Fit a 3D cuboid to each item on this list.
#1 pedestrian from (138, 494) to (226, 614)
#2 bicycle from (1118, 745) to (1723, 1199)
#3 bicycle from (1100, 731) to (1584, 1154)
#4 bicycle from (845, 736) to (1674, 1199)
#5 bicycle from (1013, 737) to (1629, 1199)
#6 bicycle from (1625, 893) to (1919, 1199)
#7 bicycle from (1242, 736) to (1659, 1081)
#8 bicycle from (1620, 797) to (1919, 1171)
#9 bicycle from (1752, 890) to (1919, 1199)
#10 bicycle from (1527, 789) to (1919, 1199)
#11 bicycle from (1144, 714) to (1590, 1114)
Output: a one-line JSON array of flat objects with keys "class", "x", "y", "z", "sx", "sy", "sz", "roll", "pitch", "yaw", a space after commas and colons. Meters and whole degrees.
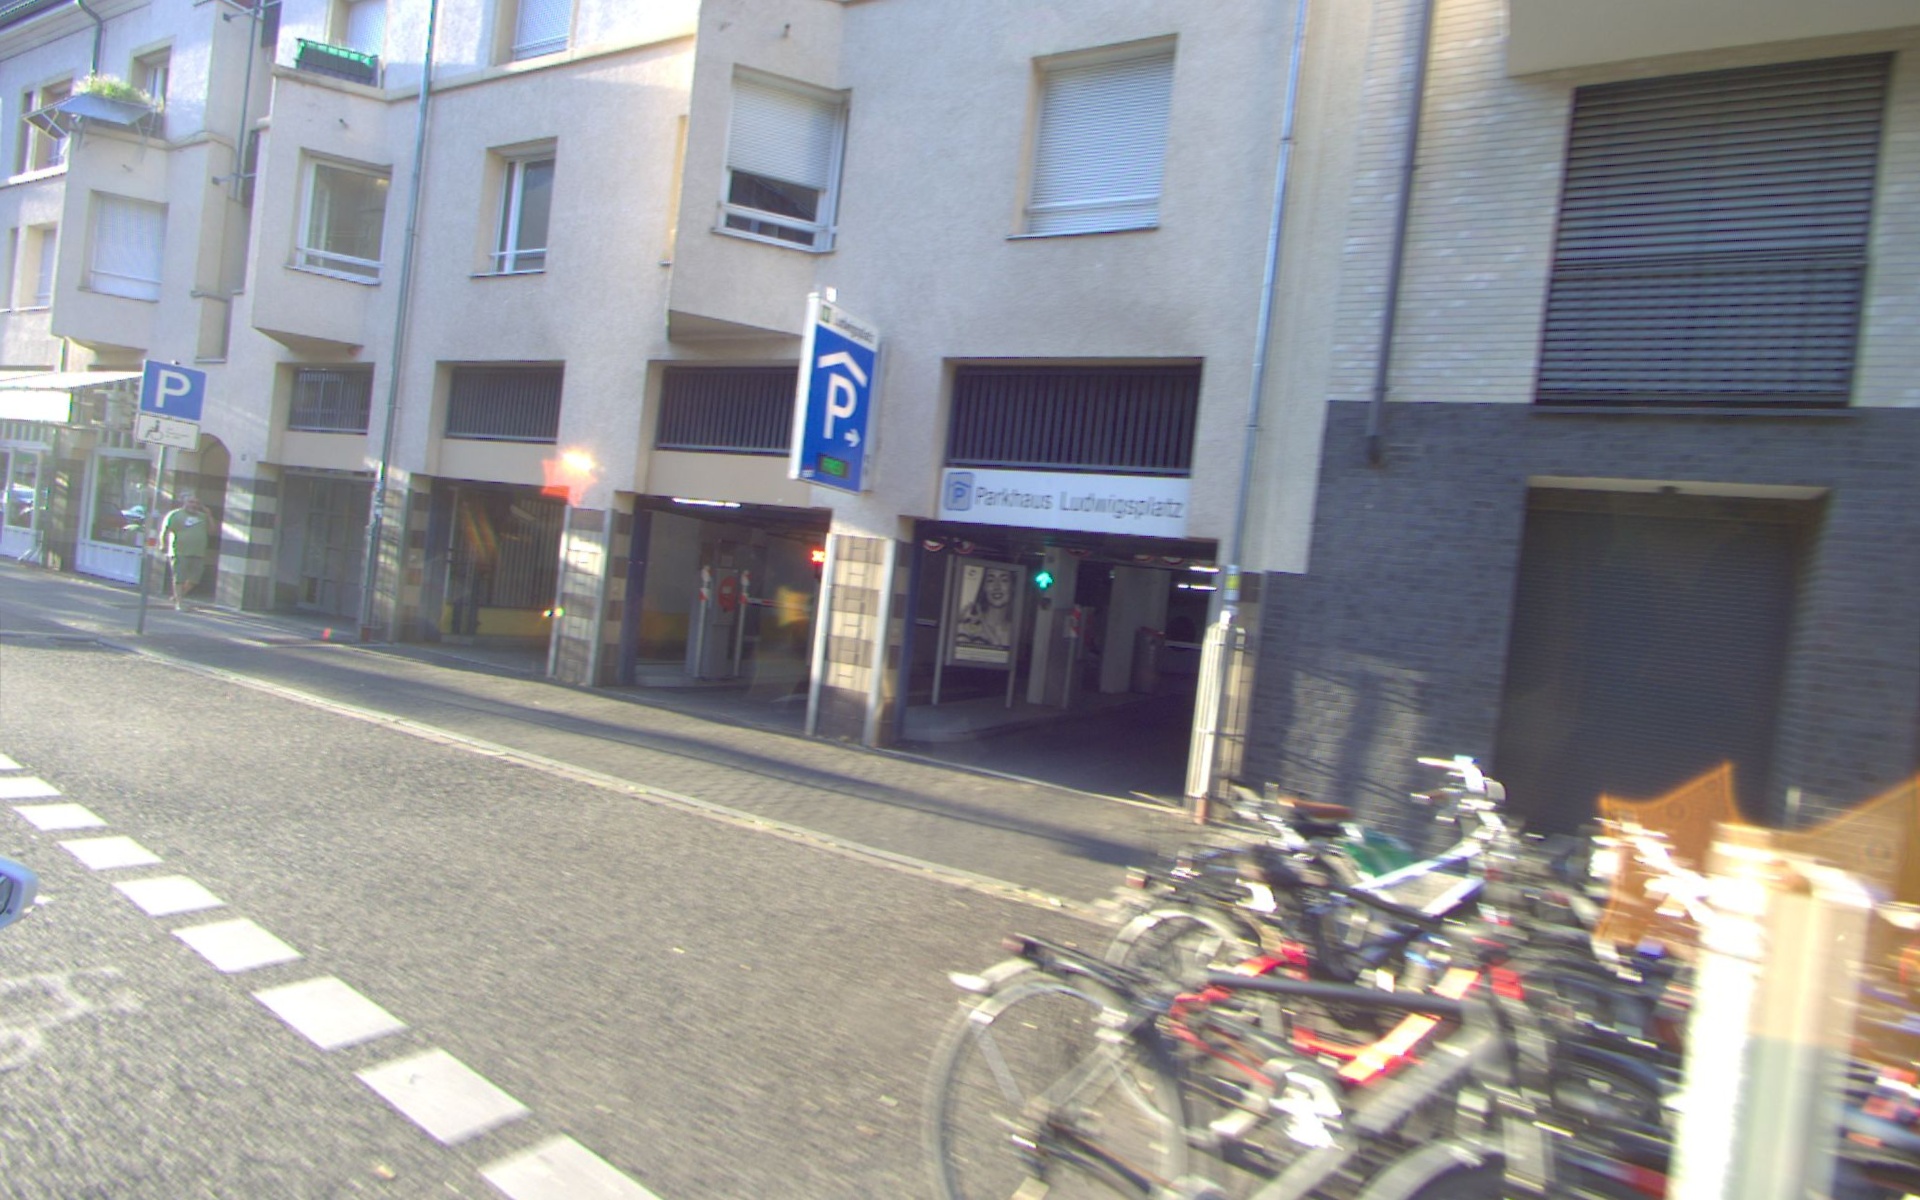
[{"class": "pedestrian", "x": -11.399, "y": -0.662, "z": 14.751, "sx": 0.596, "sy": 1.668, "sz": 0.810, "roll": 7, "pitch": 2, "yaw": 35}, {"class": "bicycle", "x": 1.354, "y": 1.163, "z": 3.183, "sx": 1.539, "sy": 1.114, "sz": 0.382, "roll": 7, "pitch": 1, "yaw": 31}, {"class": "bicycle", "x": 1.360, "y": 1.172, "z": 3.751, "sx": 1.496, "sy": 1.113, "sz": 0.382, "roll": 7, "pitch": 0, "yaw": 26}, {"class": "bicycle", "x": 0.495, "y": 0.999, "z": 2.127, "sx": 1.542, "sy": 1.155, "sz": 0.362, "roll": 7, "pitch": 1, "yaw": 37}, {"class": "bicycle", "x": 0.916, "y": 1.088, "z": 2.864, "sx": 1.501, "sy": 1.122, "sz": 0.370, "roll": 7, "pitch": 1, "yaw": 41}, {"class": "bicycle", "x": 1.927, "y": 1.212, "z": 1.517, "sx": 1.496, "sy": 1.114, "sz": 0.382, "roll": 7, "pitch": 1, "yaw": 26}, {"class": "bicycle", "x": 2.113, "y": 1.292, "z": 4.484, "sx": 1.496, "sy": 1.114, "sz": 0.382, "roll": 7, "pitch": 1, "yaw": 26}, {"class": "bicycle", "x": 3.441, "y": 1.456, "z": 3.738, "sx": 1.496, "sy": 1.114, "sz": 0.382, "roll": 7, "pitch": 1, "yaw": 26}, {"class": "bicycle", "x": 2.495, "y": 1.287, "z": 1.954, "sx": 1.494, "sy": 1.114, "sz": 0.383, "roll": 7, "pitch": 1, "yaw": 8}, {"class": "bicycle", "x": 2.874, "y": 1.356, "z": 3.415, "sx": 1.495, "sy": 1.114, "sz": 0.383, "roll": 7, "pitch": 1, "yaw": 22}, {"class": "bicycle", "x": 1.603, "y": 1.188, "z": 4.118, "sx": 1.496, "sy": 1.203, "sz": 0.383, "roll": 7, "pitch": 0, "yaw": 26}]
